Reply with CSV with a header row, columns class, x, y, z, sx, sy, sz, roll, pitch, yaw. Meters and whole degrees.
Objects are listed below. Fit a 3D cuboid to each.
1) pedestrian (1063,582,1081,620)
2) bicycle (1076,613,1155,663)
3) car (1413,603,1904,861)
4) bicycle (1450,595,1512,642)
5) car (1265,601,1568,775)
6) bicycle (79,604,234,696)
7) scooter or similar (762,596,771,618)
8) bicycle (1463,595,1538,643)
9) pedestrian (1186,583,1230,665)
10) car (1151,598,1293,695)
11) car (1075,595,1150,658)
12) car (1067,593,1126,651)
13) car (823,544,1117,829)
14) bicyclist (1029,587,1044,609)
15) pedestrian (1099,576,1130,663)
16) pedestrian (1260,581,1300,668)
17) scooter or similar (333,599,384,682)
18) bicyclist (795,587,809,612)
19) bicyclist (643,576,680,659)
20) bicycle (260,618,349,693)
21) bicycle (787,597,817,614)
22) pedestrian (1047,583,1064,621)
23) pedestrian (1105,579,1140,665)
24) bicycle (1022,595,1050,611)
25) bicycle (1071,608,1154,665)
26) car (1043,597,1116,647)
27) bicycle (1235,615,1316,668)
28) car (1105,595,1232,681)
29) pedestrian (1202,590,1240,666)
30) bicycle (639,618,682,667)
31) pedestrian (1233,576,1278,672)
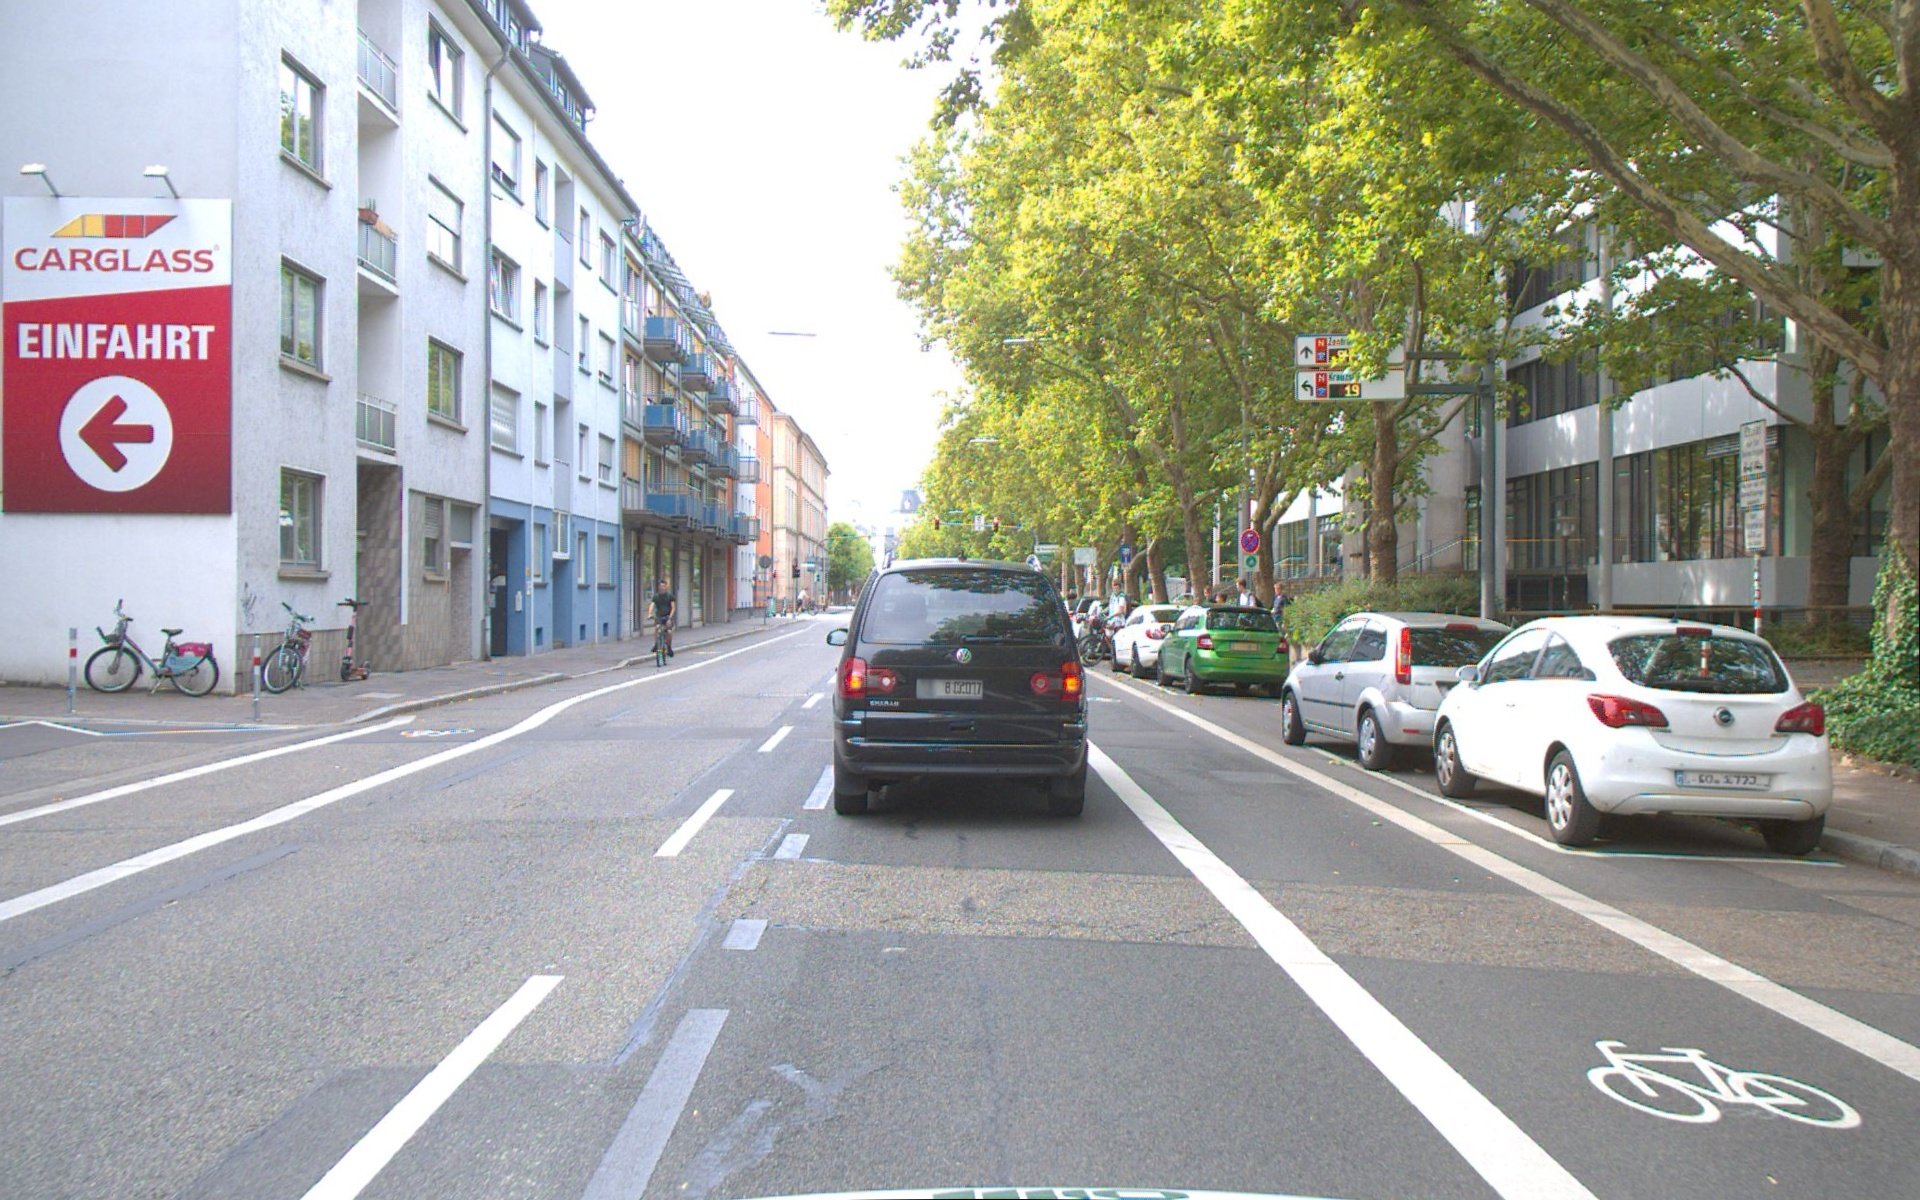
class,x,y,z,sx,sy,sz,roll,pitch,yaw
pedestrian,5.483,0.062,81.054,0.700,1.831,1.033,-2,0,-3
bicycle,3.599,0.875,38.268,1.704,1.125,0.550,1,0,-13
car,4.794,0.799,12.082,1.719,1.472,4.217,2,0,-1
bicycle,13.096,0.466,41.595,1.417,1.137,0.468,-1,0,-5
car,4.417,0.788,16.621,1.611,1.472,3.878,2,0,-6
bicycle,-10.338,0.638,21.309,1.735,1.137,0.453,1,0,-2
scooter or similar,-11.048,0.400,94.600,0.370,1.204,1.389,0,-1,-2
bicycle,13.273,0.467,40.593,1.642,1.137,0.603,-1,0,-8
pedestrian,5.737,0.552,38.243,0.853,1.848,0.780,1,0,-2
car,4.403,0.740,28.295,1.556,1.475,3.803,3,0,-4
car,3.910,0.653,42.882,1.497,1.528,3.659,2,0,-1
car,3.896,0.613,47.427,1.504,1.570,2.599,2,0,1
car,-0.022,0.533,12.655,1.836,1.775,4.571,0,0,-2
bicyclist,5.326,-0.147,115.372,0.898,1.492,0.568,1,0,-12
pedestrian,3.538,0.450,37.996,0.466,1.968,0.742,1,0,-12
pedestrian,7.091,0.533,36.655,0.706,1.887,0.703,1,0,-2
scooter or similar,-9.298,0.614,25.584,0.342,1.243,1.201,1,0,-1
bicyclist,-10.254,-0.041,107.096,0.839,1.594,0.576,1,-1,-10
bicyclist,-6.749,0.384,37.454,0.638,1.842,1.045,-1,0,-1
bicycle,-9.052,0.752,22.886,0.585,0.967,1.662,1,0,-1
bicycle,-10.239,0.349,107.094,1.889,1.046,0.582,1,0,-10
pedestrian,4.674,0.091,81.077,0.696,1.814,1.033,-2,0,-3
pedestrian,3.604,0.491,36.688,0.511,1.877,0.741,1,0,-16
bicycle,5.300,0.200,115.374,1.890,1.046,0.581,1,0,-12
bicycle,3.403,0.809,36.955,1.762,1.238,0.550,1,0,-19
car,3.705,0.662,51.886,1.664,1.450,4.418,2,0,-4
bicycle,7.060,0.937,37.061,1.737,1.152,0.461,1,0,-14
car,4.119,0.702,33.324,1.647,1.542,4.541,3,0,-4
pedestrian,5.914,0.628,37.467,0.706,1.687,0.654,1,0,-2
bicycle,-6.739,0.941,37.335,0.633,1.032,2.076,-1,0,-2
pedestrian,6.385,0.519,35.731,0.777,2.032,0.749,1,0,-2
